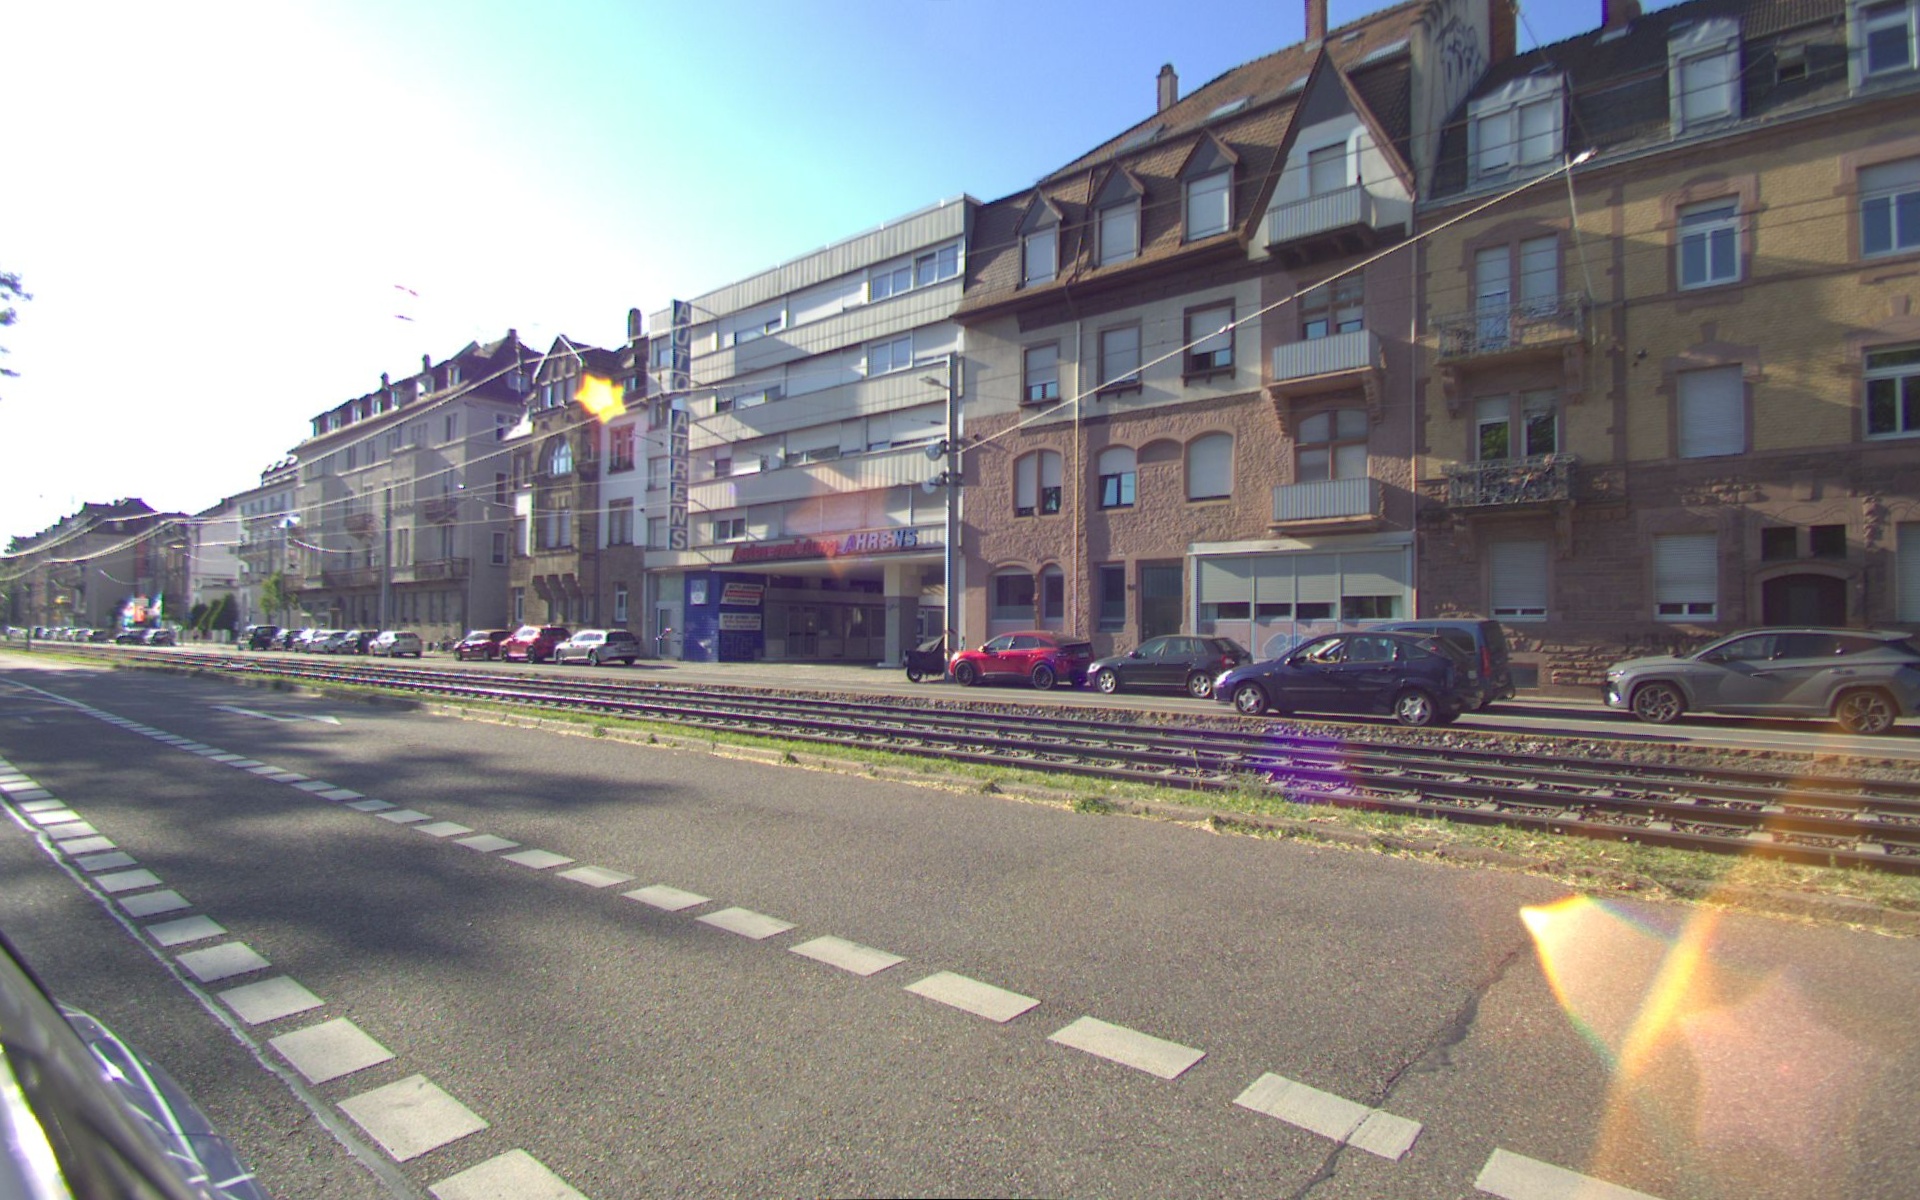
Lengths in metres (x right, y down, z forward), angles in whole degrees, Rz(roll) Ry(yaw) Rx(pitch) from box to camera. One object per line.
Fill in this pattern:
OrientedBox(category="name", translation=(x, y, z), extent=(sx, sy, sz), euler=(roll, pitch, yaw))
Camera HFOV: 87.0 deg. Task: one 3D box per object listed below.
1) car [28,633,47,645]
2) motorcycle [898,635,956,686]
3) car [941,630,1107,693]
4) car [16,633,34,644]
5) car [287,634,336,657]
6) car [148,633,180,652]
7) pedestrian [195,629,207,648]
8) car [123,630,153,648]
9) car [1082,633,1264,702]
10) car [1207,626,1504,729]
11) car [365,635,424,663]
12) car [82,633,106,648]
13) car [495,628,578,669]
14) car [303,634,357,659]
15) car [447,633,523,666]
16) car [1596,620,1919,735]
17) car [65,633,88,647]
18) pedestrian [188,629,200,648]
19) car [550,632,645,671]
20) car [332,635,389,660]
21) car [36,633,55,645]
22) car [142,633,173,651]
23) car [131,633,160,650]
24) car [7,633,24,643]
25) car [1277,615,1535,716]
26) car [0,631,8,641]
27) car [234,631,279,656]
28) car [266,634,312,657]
OrientedBox(category="car", translation=(-131.885, 5.520, 144.638), extent=(3.448, 1.602, 1.603), euler=(-1, -1, 41))
OrientedBox(category="motorcycle", translation=(-0.967, 1.777, 30.046), extent=(0.628, 1.433, 1.836), euler=(-3, -2, 41))
OrientedBox(category="car", translation=(1.674, 1.618, 27.441), extent=(4.207, 1.510, 1.837), euler=(-2, 0, 40))
OrientedBox(category="car", translation=(-137.944, 5.631, 149.355), extent=(3.448, 1.602, 1.603), euler=(-1, -1, 41))
OrientedBox(category="car", translation=(-42.848, 2.987, 66.855), extent=(3.821, 1.490, 1.778), euler=(-2, -2, 42))
OrientedBox(category="car", translation=(-71.819, 3.788, 91.277), extent=(3.406, 1.644, 1.655), euler=(-2, -2, 42))
OrientedBox(category="pedestrian", translation=(-72.172, 3.692, 96.252), extent=(0.677, 1.803, 0.716), euler=(-2, -3, 40))
OrientedBox(category="car", translation=(-83.105, 3.907, 102.349), extent=(3.879, 1.800, 1.705), euler=(-1, -1, 41))
OrientedBox(category="car", translation=(5.023, 1.544, 24.137), extent=(3.925, 1.448, 1.678), euler=(-2, 0, 40))
OrientedBox(category="car", translation=(6.331, 1.176, 16.471), extent=(4.163, 1.468, 1.801), euler=(-1, -3, 40))
OrientedBox(category="car", translation=(-32.048, 2.766, 57.292), extent=(3.821, 1.490, 1.778), euler=(-2, -2, 42))
OrientedBox(category="car", translation=(-98.786, 4.597, 115.460), extent=(3.448, 1.602, 1.603), euler=(-1, -1, 41))
OrientedBox(category="car", translation=(-19.301, 2.171, 46.013), extent=(4.262, 1.700, 1.836), euler=(-2, -1, 42))
OrientedBox(category="car", translation=(-39.413, 2.906, 63.295), extent=(3.530, 1.457, 1.624), euler=(-2, -1, 34))
OrientedBox(category="car", translation=(-23.225, 2.418, 49.462), extent=(3.721, 1.507, 1.736), euler=(-2, -1, 35))
OrientedBox(category="car", translation=(13.418, 1.208, 16.898), extent=(4.499, 1.635, 1.837), euler=(-2, 0, 40))
OrientedBox(category="car", translation=(-105.899, 4.753, 121.245), extent=(3.448, 1.602, 1.603), euler=(-1, -1, 41))
OrientedBox(category="pedestrian", translation=(-72.495, 3.673, 95.746), extent=(0.677, 1.803, 0.716), euler=(-2, -3, 40))
OrientedBox(category="car", translation=(-15.245, 2.140, 42.463), extent=(4.378, 1.510, 1.837), euler=(-2, -1, 40))
OrientedBox(category="car", translation=(-36.086, 2.840, 60.885), extent=(3.819, 1.441, 1.779), euler=(-2, -2, 39))
OrientedBox(category="car", translation=(-127.953, 5.430, 141.606), extent=(3.448, 1.602, 1.603), euler=(-1, -1, 41))
OrientedBox(category="car", translation=(-75.438, 3.940, 95.106), extent=(3.387, 1.583, 1.662), euler=(-1, -1, 41))
OrientedBox(category="car", translation=(-79.484, 4.025, 98.720), extent=(3.387, 1.583, 1.662), euler=(-1, -1, 41))
OrientedBox(category="car", translation=(-145.930, 5.856, 156.299), extent=(3.448, 1.602, 1.603), euler=(-1, -1, 41))
OrientedBox(category="car", translation=(8.979, 1.251, 20.612), extent=(4.418, 1.772, 1.865), euler=(-2, 0, 43))
OrientedBox(category="car", translation=(-165.638, 6.193, 174.623), extent=(3.448, 1.602, 1.603), euler=(-1, -1, 41))
OrientedBox(category="car", translation=(-51.559, 3.172, 74.176), extent=(3.914, 1.750, 1.851), euler=(-2, -2, 42))
OrientedBox(category="car", translation=(-47.103, 3.158, 70.977), extent=(3.821, 1.490, 1.778), euler=(-2, -2, 42))
